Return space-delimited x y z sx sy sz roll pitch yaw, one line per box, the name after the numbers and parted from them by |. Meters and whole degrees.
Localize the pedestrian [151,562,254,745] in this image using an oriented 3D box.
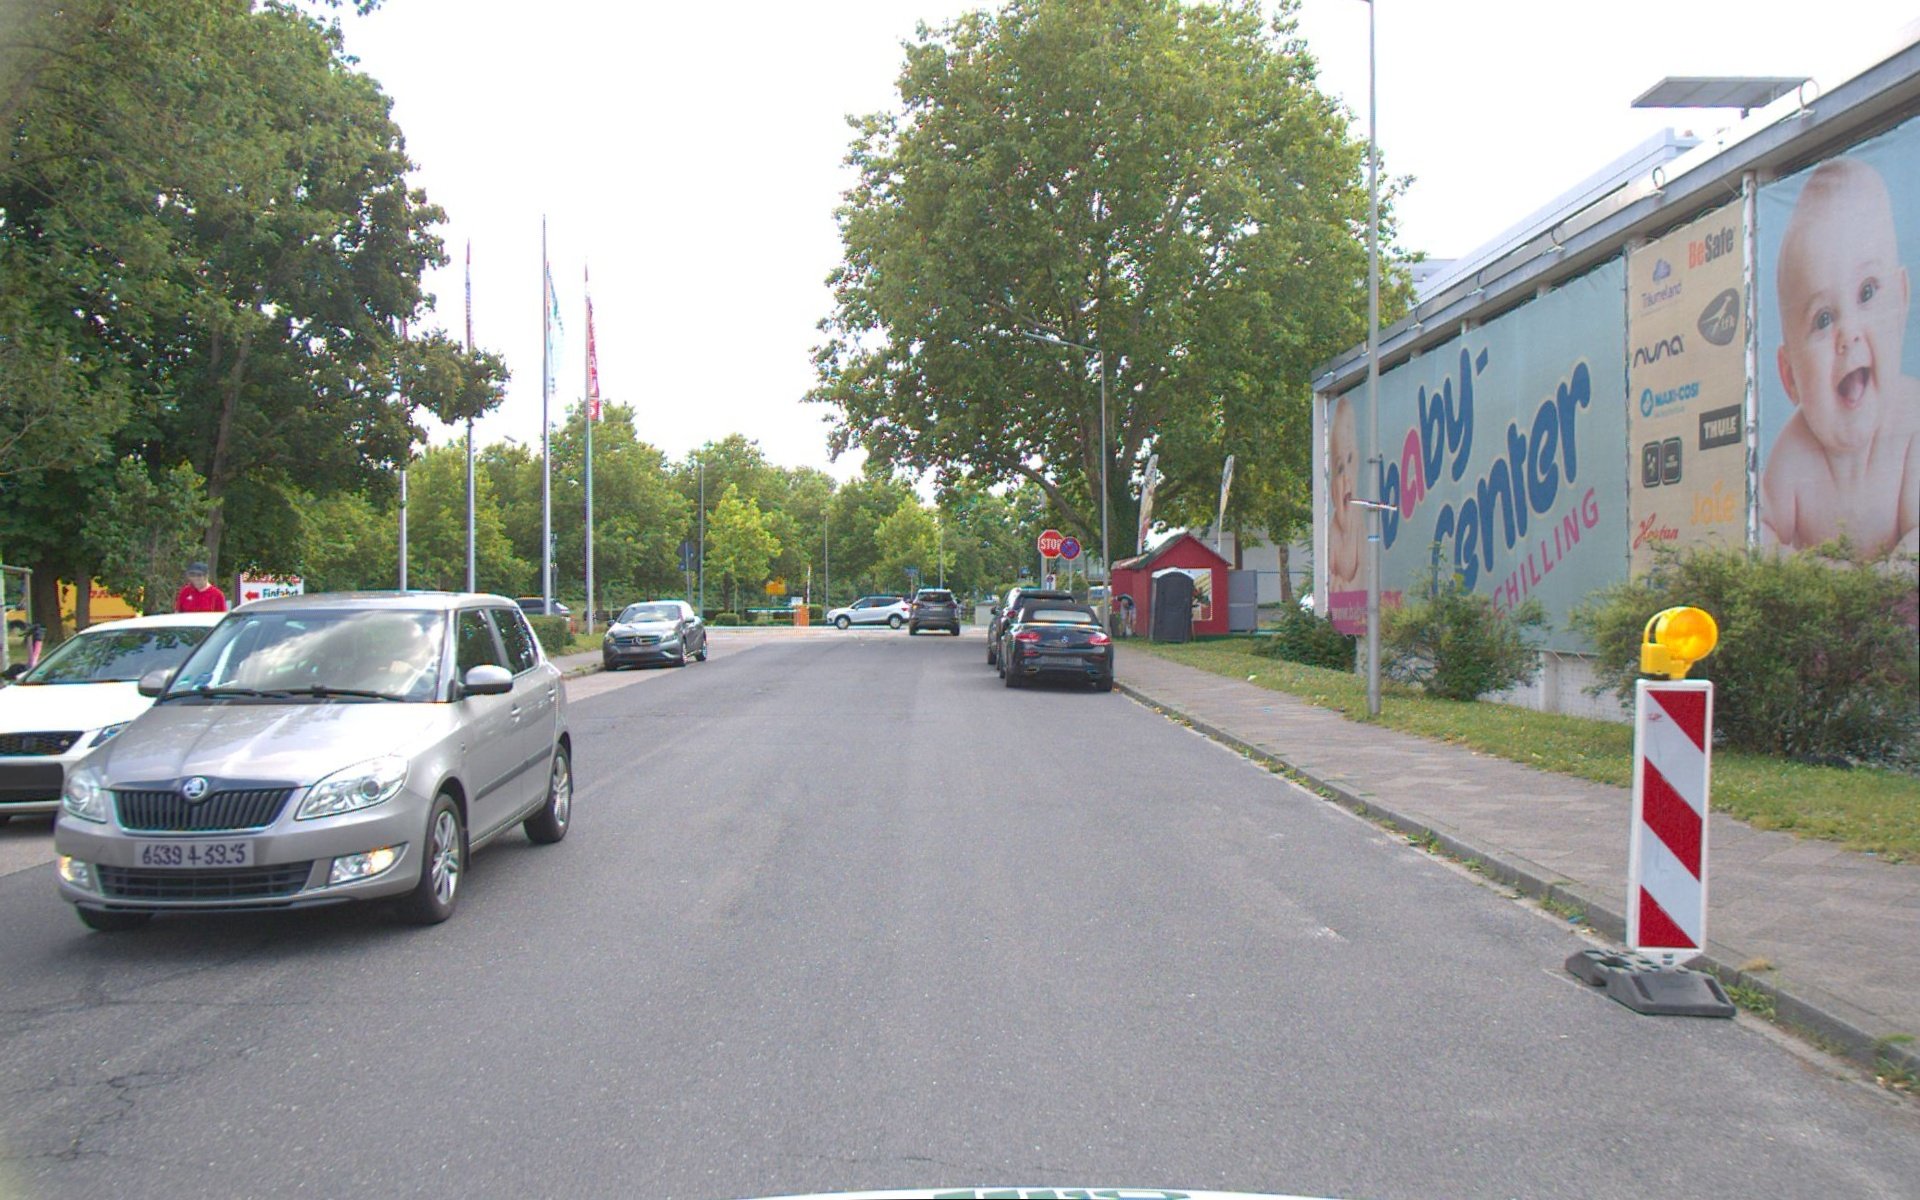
-8.684 0.597 18.991 0.793 2.049 0.885 0 0 -2 | pedestrian

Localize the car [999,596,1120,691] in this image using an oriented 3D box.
1.623 0.684 28.492 1.771 1.415 4.588 2 0 0 | car

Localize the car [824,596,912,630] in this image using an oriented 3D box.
-4.421 0.603 79.675 4.136 1.607 1.923 0 0 -4 | car

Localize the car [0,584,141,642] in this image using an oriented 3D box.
-41.872 0.587 77.166 6.251 2.623 2.206 0 0 1 | car

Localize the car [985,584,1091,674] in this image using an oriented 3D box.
1.574 0.556 34.787 1.772 1.694 4.638 2 0 -2 | car

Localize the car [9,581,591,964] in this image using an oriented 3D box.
-3.071 0.680 8.538 1.559 1.490 3.760 -2 0 -2 | car

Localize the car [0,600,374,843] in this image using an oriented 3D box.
-6.167 0.814 12.936 1.730 1.505 4.233 -3 0 -2 | car

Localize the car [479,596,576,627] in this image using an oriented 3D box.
-20.542 0.540 78.640 4.136 1.430 1.923 0 0 -4 | car

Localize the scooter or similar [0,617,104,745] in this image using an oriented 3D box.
-9.280 0.790 16.639 0.506 1.214 1.281 0 0 10 | scooter or similar

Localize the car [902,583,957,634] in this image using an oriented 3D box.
-1.196 0.294 62.289 1.923 1.847 4.273 0 0 -3 | car

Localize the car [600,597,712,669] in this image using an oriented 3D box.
-6.819 0.698 37.506 1.675 1.444 4.331 -3 0 0 | car

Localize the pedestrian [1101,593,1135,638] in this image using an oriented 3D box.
4.745 0.449 49.539 0.992 1.337 0.965 0 0 7 | pedestrian
